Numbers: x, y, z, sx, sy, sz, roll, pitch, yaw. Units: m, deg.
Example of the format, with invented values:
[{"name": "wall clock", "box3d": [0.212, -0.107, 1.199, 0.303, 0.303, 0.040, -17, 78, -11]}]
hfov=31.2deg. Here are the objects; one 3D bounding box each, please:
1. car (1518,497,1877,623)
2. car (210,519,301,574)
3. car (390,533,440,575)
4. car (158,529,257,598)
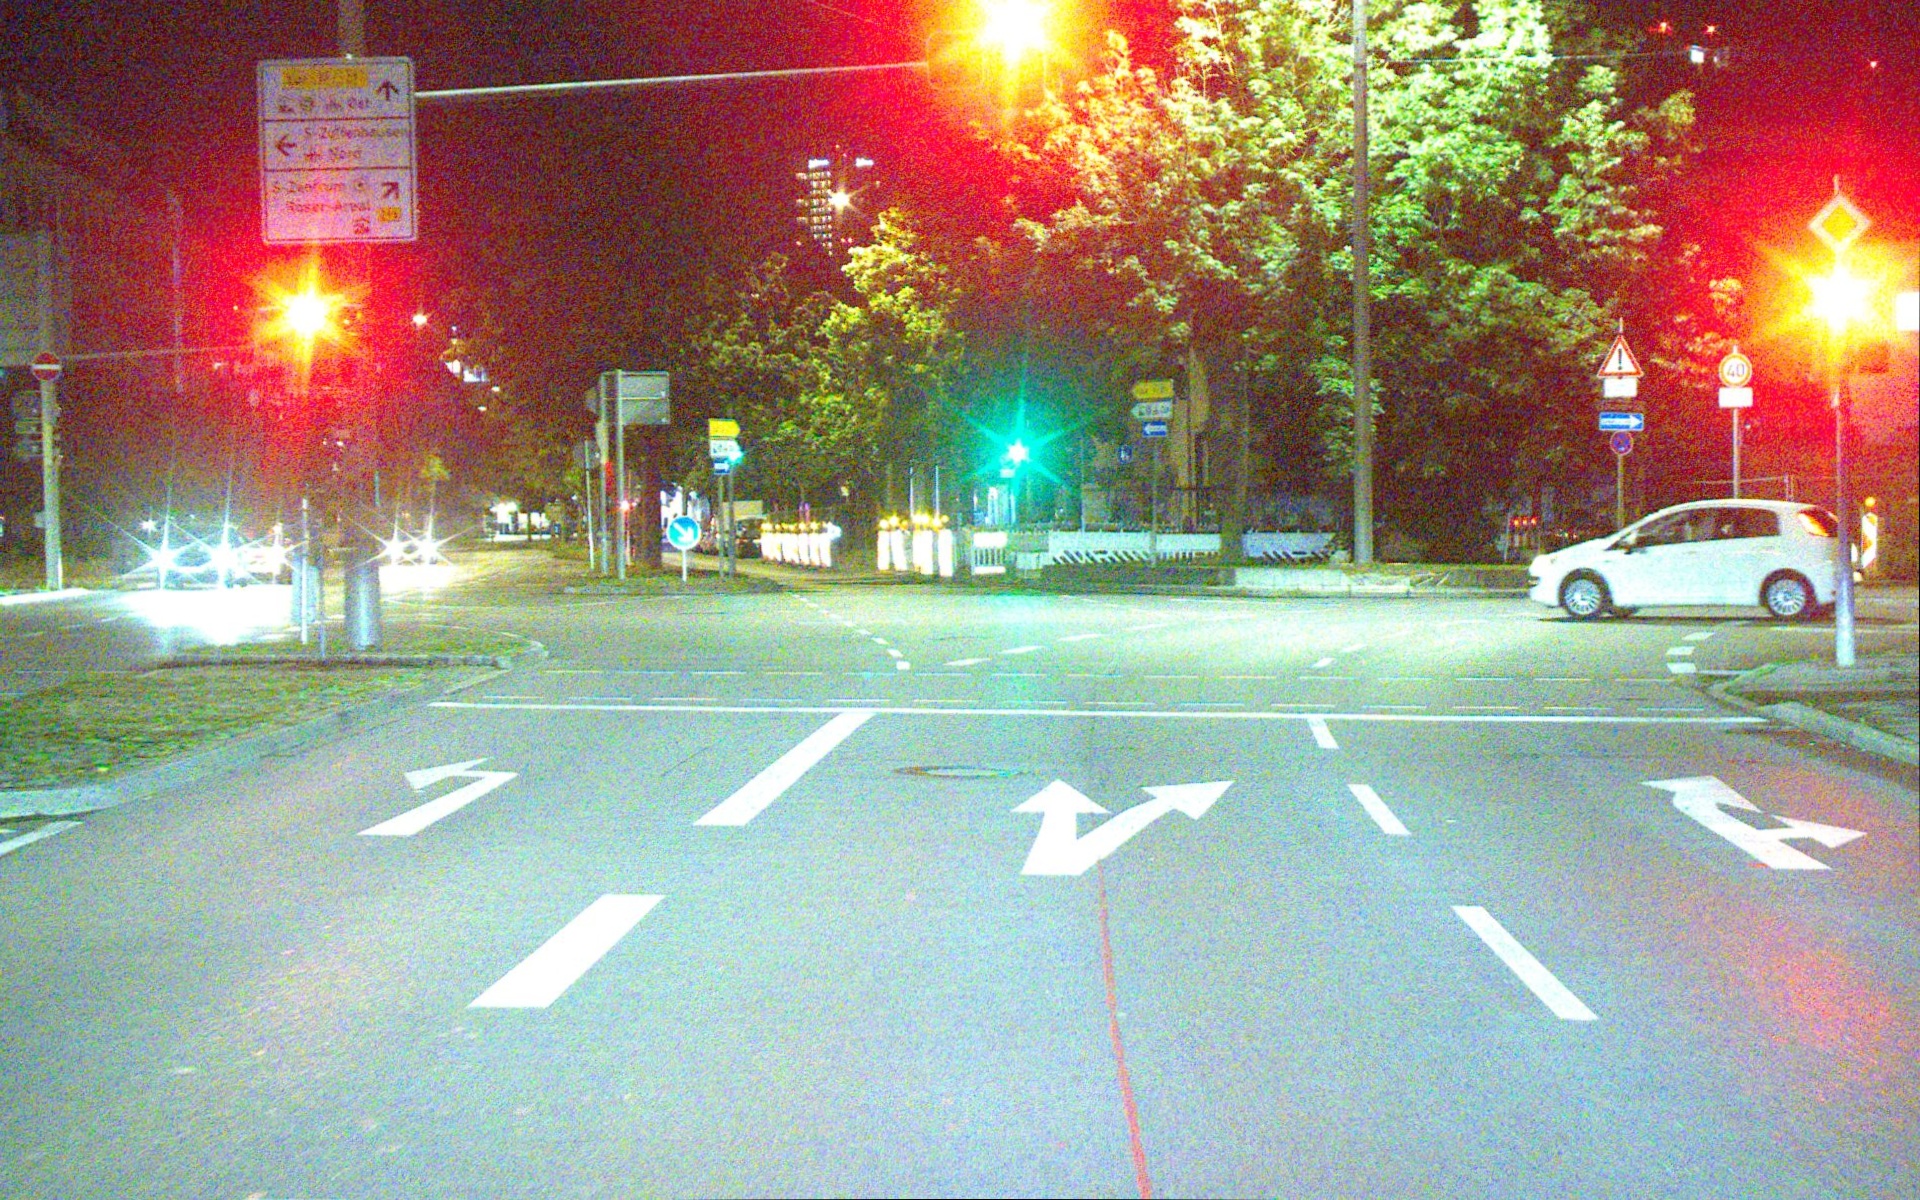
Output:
[{"name": "car", "box3d": [9.066, -0.487, 42.310, 3.994, 1.486, 1.706, 0, 1, 30]}, {"name": "car", "box3d": [-17.306, -1.313, 84.572, 1.757, 1.317, 3.548, 0, 1, -5]}, {"name": "car", "box3d": [-22.440, -1.899, 141.727, 1.757, 1.722, 3.548, 0, 1, -5]}, {"name": "car", "box3d": [-16.901, -0.821, 77.370, 1.615, 1.509, 4.001, 0, 1, -4]}]
